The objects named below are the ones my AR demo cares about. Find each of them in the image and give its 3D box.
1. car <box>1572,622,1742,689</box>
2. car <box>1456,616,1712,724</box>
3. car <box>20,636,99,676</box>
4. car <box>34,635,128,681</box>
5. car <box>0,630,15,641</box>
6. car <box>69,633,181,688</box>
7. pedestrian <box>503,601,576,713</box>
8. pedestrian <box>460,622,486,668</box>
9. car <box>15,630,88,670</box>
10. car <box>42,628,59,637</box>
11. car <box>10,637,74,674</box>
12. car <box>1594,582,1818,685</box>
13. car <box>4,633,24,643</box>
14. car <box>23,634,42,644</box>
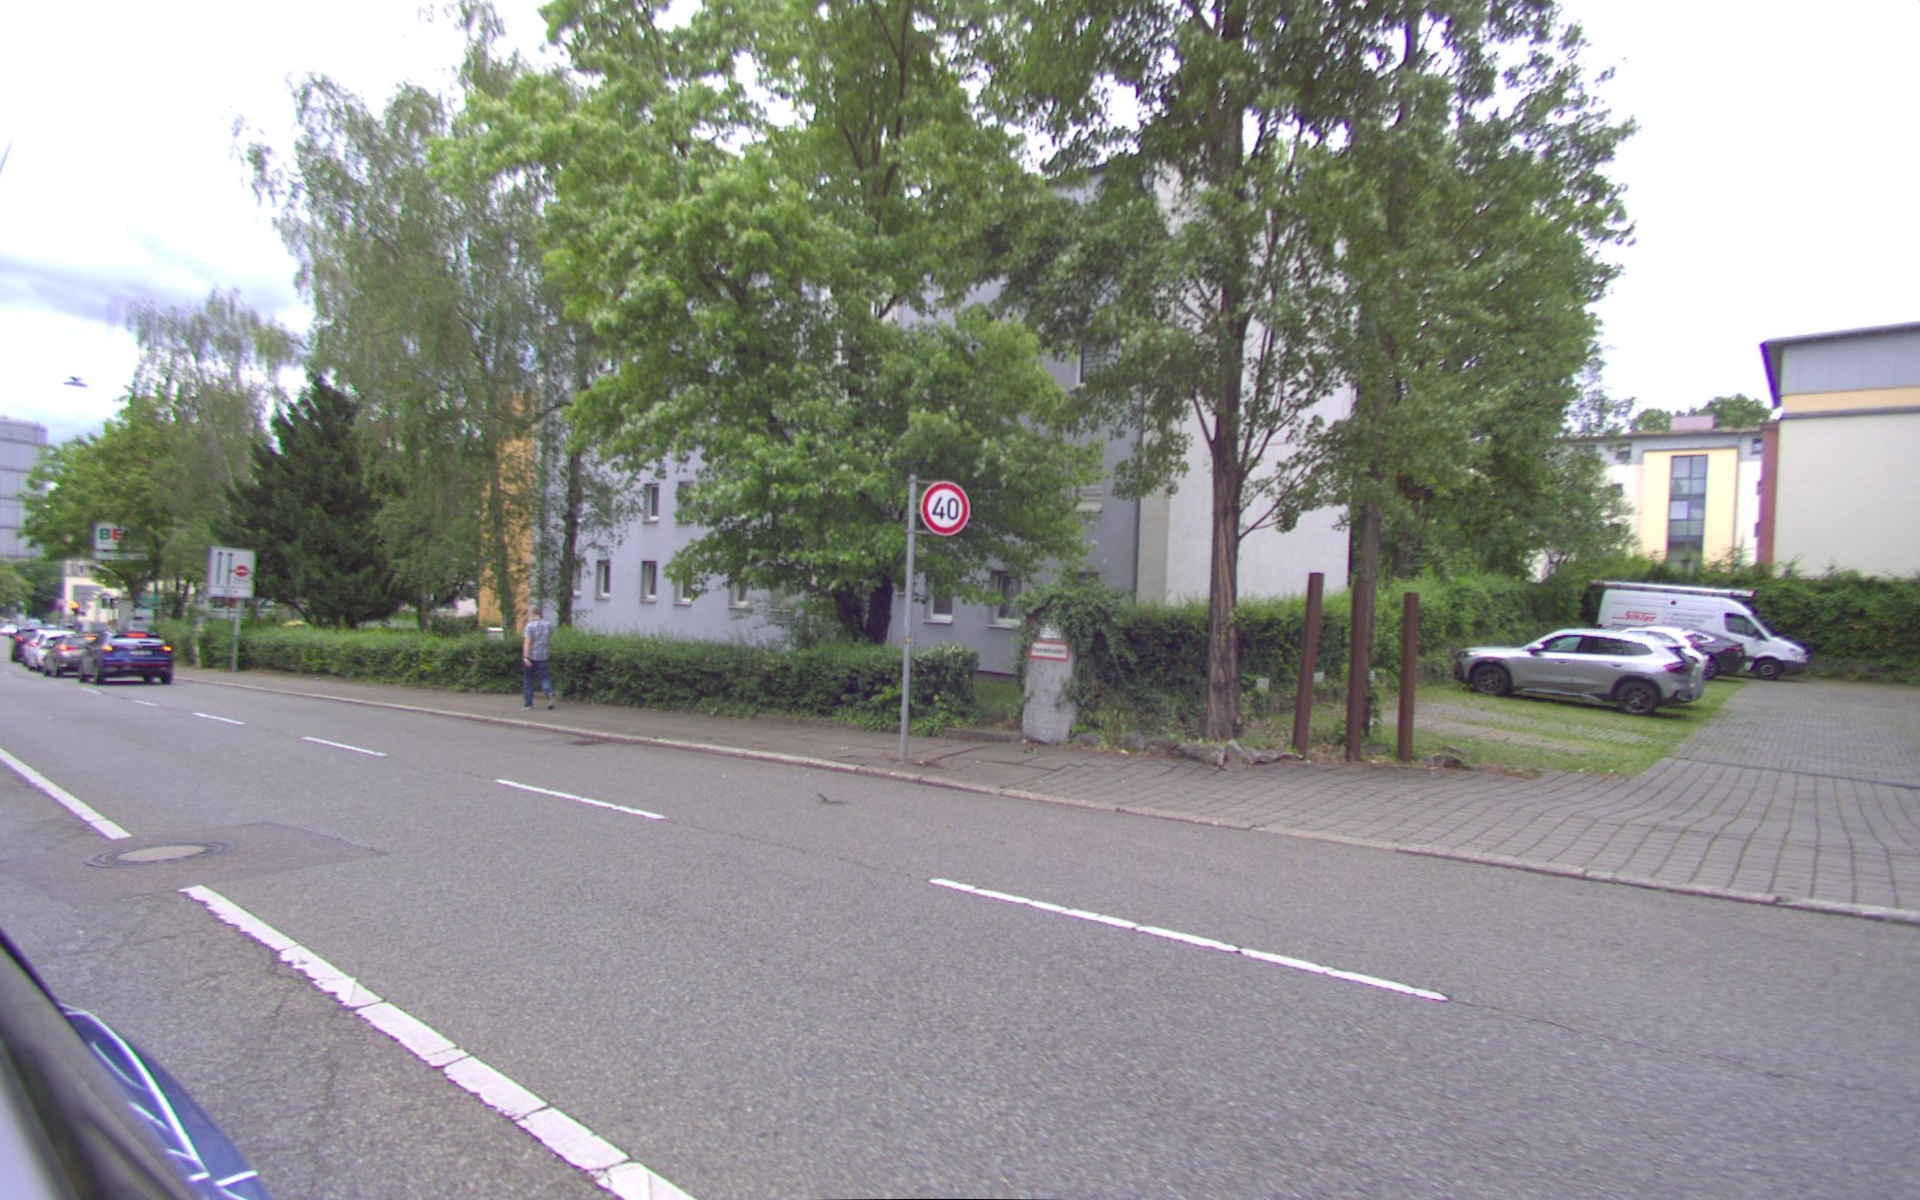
[{"bbox_3d":[20.924,1.600,30.439,3.983,1.527,1.813,5,4,41],"label":"car"},{"bbox_3d":[13.311,1.389,21.714,4.418,1.740,1.974,5,3,38],"label":"car"},{"bbox_3d":[-34.751,2.138,39.012,4.073,1.423,1.819,-2,-5,43],"label":"car"},{"bbox_3d":[-29.668,1.919,34.111,4.309,1.459,1.819,-2,-4,42],"label":"car"},{"bbox_3d":[-146.706,5.434,155.258,1.967,1.612,4.009,-1,-1,-36],"label":"car"},{"bbox_3d":[-24.038,1.686,29.084,4.309,1.459,1.819,-2,-4,42],"label":"car"},{"bbox_3d":[-7.654,1.015,18.430,0.867,1.964,0.873,-2,0,41],"label":"pedestrian"},{"bbox_3d":[-19.506,1.793,40.534,0.714,1.768,0.794,1,-6,-44],"label":"pedestrian"},{"bbox_3d":[-39.181,2.137,43.614,4.499,1.606,1.929,-2,-5,44],"label":"car"},{"bbox_3d":[-174.122,6.293,193.735,1.967,1.612,4.009,-1,-1,-36],"label":"car"},{"bbox_3d":[-43.997,2.658,48.479,4.415,1.655,1.929,-2,-5,44],"label":"car"},{"bbox_3d":[25.063,0.999,34.191,5.788,2.900,2.386,5,3,40],"label":"car"},{"bbox_3d":[-156.155,6.318,167.139,1.967,1.612,4.009,-1,-1,-36],"label":"car"},{"bbox_3d":[-161.556,6.729,176.294,1.967,1.612,4.009,-1,-1,-36],"label":"car"}]
